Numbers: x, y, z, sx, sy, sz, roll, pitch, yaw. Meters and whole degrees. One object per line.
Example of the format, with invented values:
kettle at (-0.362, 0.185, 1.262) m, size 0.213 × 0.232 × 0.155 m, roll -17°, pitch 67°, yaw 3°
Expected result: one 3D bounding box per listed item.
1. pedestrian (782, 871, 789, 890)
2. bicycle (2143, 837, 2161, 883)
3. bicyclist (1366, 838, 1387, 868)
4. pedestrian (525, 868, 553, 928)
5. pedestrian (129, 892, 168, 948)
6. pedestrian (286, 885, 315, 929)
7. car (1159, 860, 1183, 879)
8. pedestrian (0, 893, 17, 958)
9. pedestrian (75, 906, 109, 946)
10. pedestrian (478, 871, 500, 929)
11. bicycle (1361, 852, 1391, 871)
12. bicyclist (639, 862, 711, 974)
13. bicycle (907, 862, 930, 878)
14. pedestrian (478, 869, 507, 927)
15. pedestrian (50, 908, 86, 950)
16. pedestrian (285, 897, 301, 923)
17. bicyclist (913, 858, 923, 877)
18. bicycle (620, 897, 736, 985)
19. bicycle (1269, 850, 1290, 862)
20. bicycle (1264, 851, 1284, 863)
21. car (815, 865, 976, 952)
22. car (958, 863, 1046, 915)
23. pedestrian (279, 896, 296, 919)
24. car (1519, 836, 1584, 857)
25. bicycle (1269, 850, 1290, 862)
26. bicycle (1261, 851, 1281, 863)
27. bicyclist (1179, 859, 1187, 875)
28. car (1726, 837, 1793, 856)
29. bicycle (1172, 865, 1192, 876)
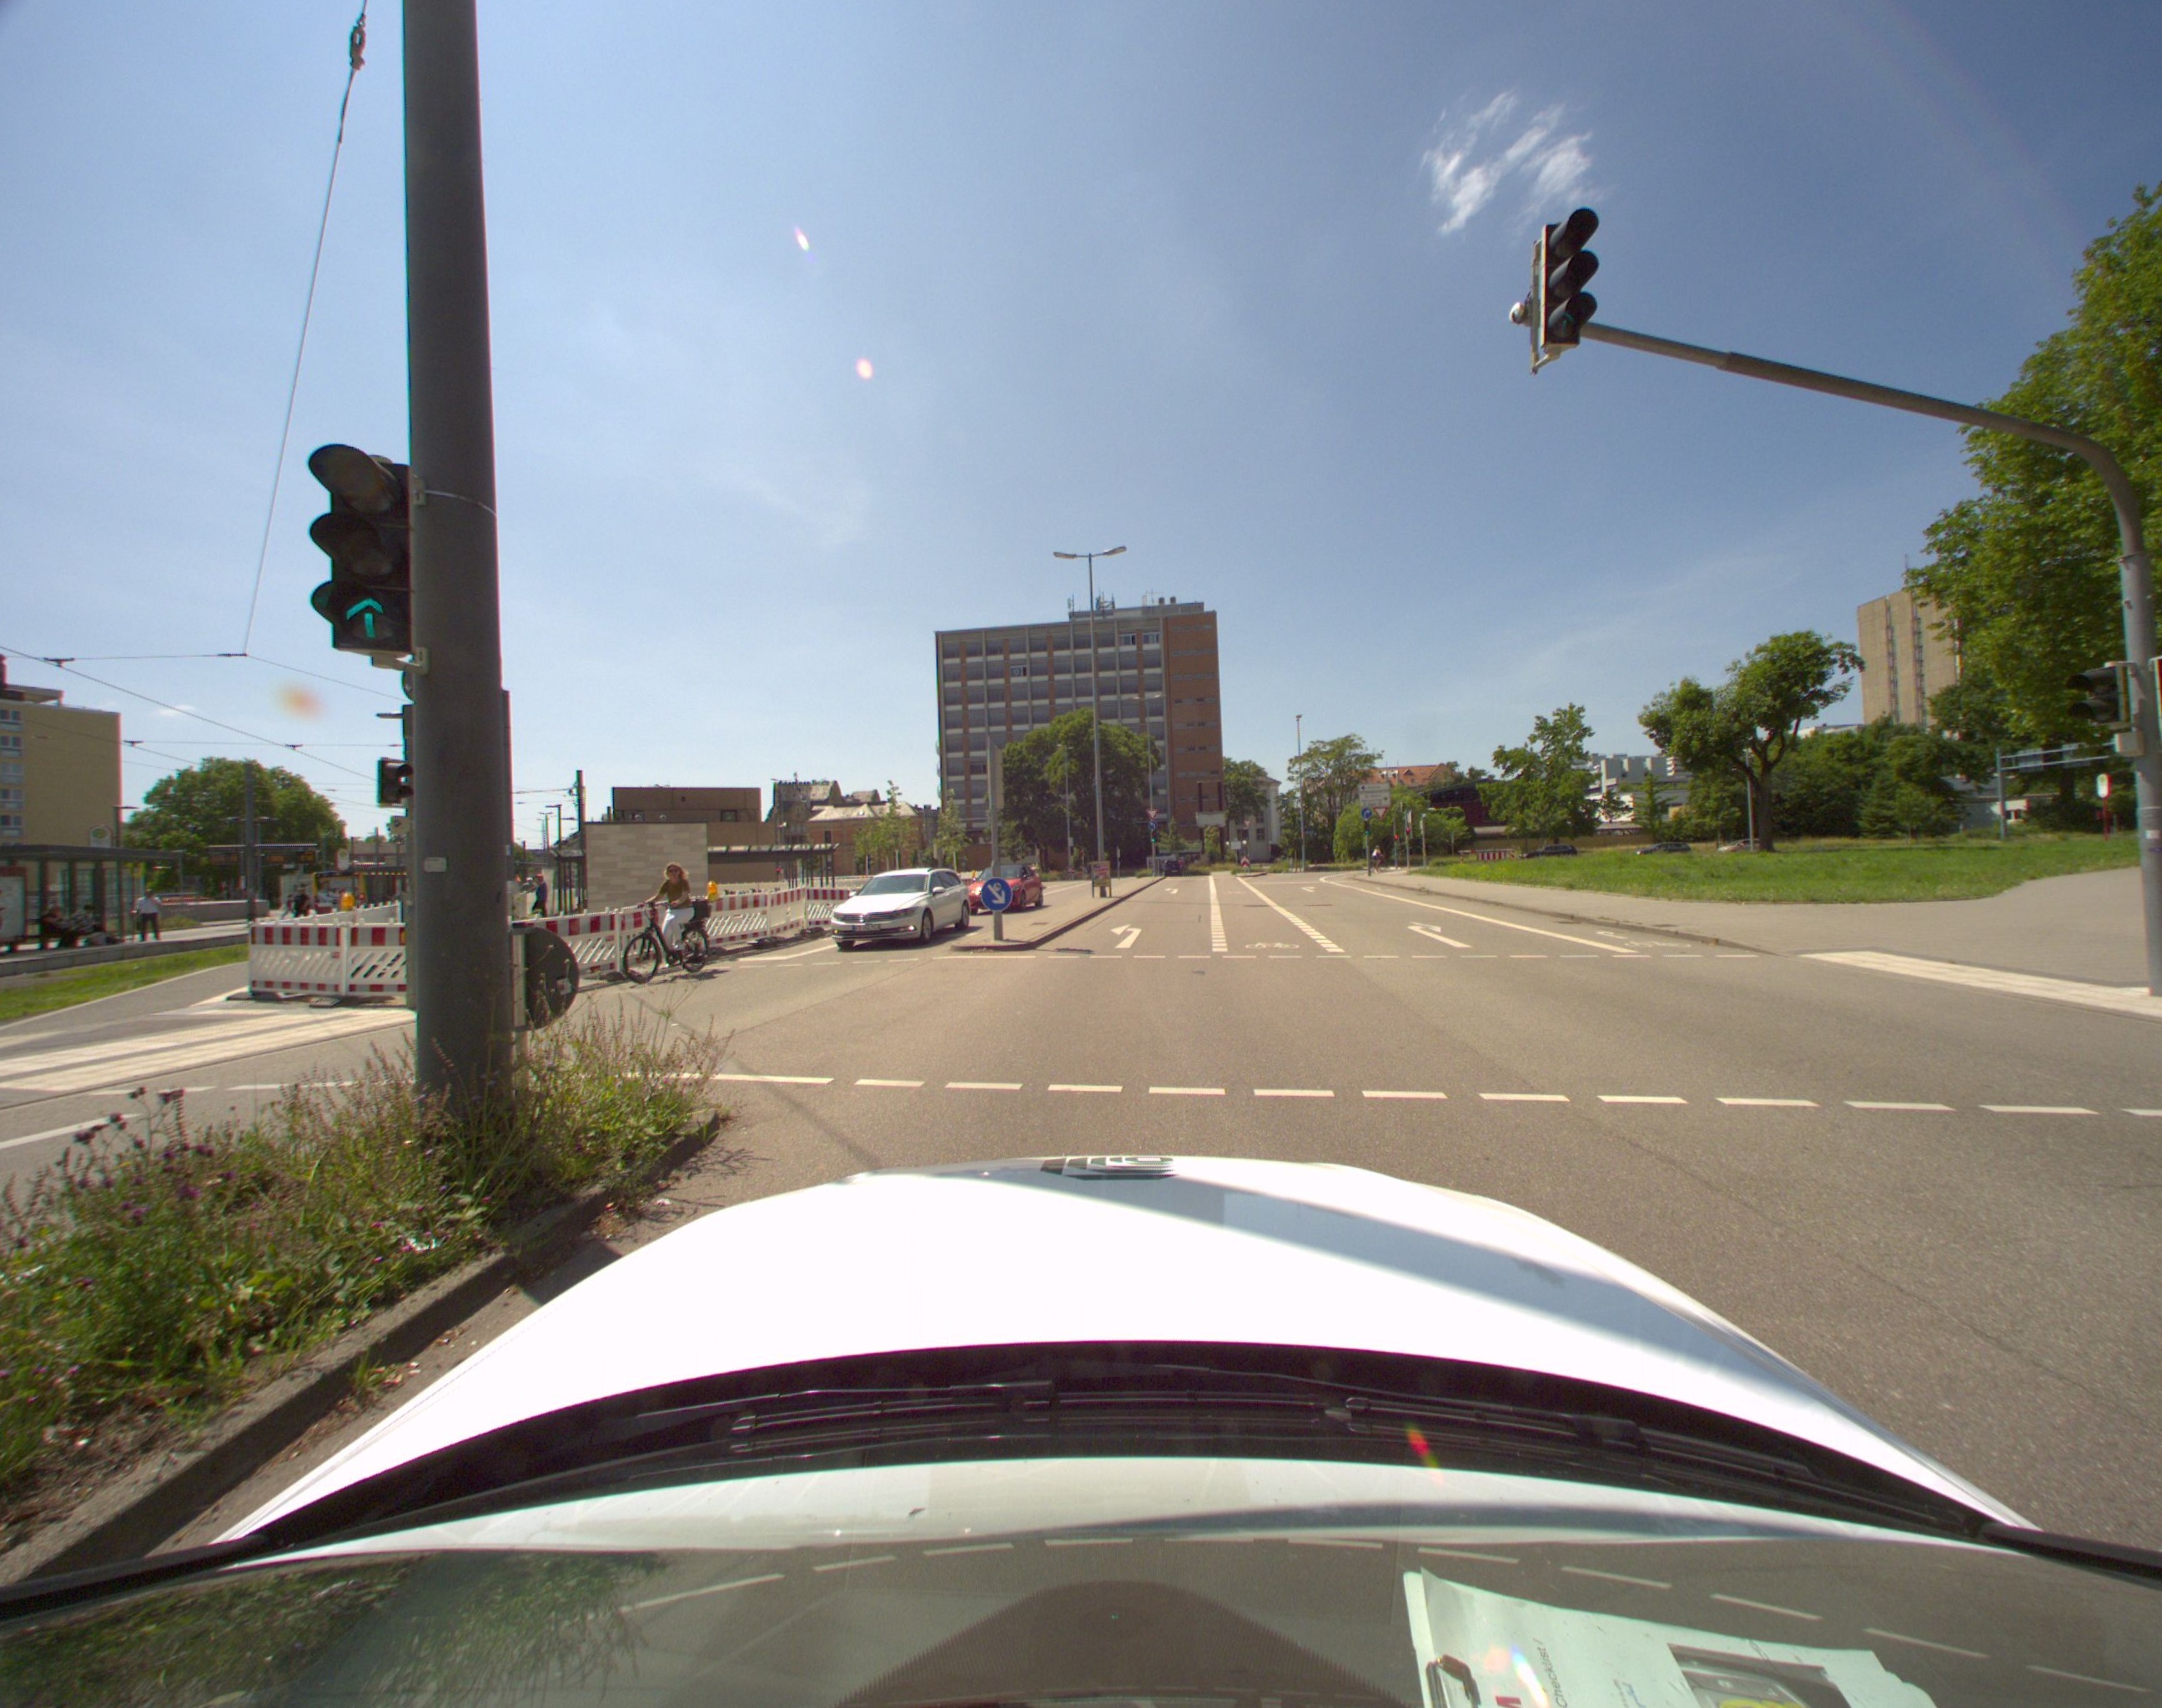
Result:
pedestrian at (-32.128, 2.856, 88.585) m, size 0.552 × 2.014 × 0.576 m, roll 0°, pitch -1°, yaw 6°
bicycle at (22.498, 0.117, 16.813) m, size 1.783 × 0.928 × 0.672 m, roll 0°, pitch -1°, yaw -37°
bicyclist at (19.167, -0.058, 52.853) m, size 1.142 × 1.887 × 0.702 m, roll 0°, pitch -1°, yaw -32°
pedestrian at (-17.738, 1.427, 26.663) m, size 0.694 × 1.905 × 0.571 m, roll 0°, pitch -1°, yaw -28°
pedestrian at (-31.541, 2.219, 27.567) m, size 0.701 × 1.858 × 0.600 m, roll 0°, pitch -1°, yaw -31°
pedestrian at (-34.370, 2.314, 35.850) m, size 0.617 × 1.858 × 0.644 m, roll -2°, pitch -1°, yaw 1°
car at (7.606, 1.300, 69.175) m, size 1.608 × 1.552 × 3.773 m, roll 0°, pitch -1°, yaw 0°
pedestrian at (-27.802, 1.836, 20.825) m, size 0.539 × 1.620 × 0.515 m, roll 0°, pitch -1°, yaw -31°
pedestrian at (-29.320, 2.124, 24.139) m, size 0.516 × 1.122 × 0.425 m, roll 0°, pitch -1°, yaw -31°
pedestrian at (-18.278, 1.406, 25.155) m, size 0.543 × 1.756 × 0.652 m, roll 0°, pitch -1°, yaw -36°
bicycle at (19.176, 0.469, 52.874) m, size 2.198 × 1.237 × 0.516 m, roll 0°, pitch -1°, yaw -30°
bicyclist at (-6.343, 0.978, 12.752) m, size 0.582 × 1.665 × 0.800 m, roll -4°, pitch -1°, yaw 5°
bicycle at (-13.630, 1.337, 68.338) m, size 1.874 × 1.180 × 0.527 m, roll -4°, pitch -2°, yaw 26°
pedestrian at (-18.723, 1.384, 25.922) m, size 0.647 × 1.789 × 0.632 m, roll 0°, pitch -1°, yaw -27°
pedestrian at (-28.819, 2.124, 23.167) m, size 0.516 × 1.122 × 0.425 m, roll 0°, pitch -1°, yaw -31°
pedestrian at (-43.381, 3.062, 44.833) m, size 0.511 × 1.366 × 0.520 m, roll 0°, pitch -1°, yaw -29°
bicyclist at (-13.701, 1.134, 68.365) m, size 0.492 × 1.580 × 0.534 m, roll -4°, pitch -2°, yaw 26°
bicycle at (-6.297, 1.328, 12.869) m, size 0.585 × 1.150 × 2.013 m, roll -4°, pitch -1°, yaw 6°
bicycle at (33.559, 0.392, 137.563) m, size 3.425 × 2.014 × 0.762 m, roll -1°, pitch -1°, yaw 10°
bicycle at (33.376, 0.467, 140.980) m, size 3.425 × 2.014 × 0.762 m, roll -1°, pitch -1°, yaw 10°
car at (-3.697, 1.028, 17.117) m, size 1.806 × 1.428 × 4.436 m, roll -4°, pitch -1°, yaw 7°
car at (-2.366, 1.038, 25.441) m, size 1.678 × 1.378 × 4.023 m, roll -4°, pitch -1°, yaw 9°
pedestrian at (-48.871, 3.293, 50.167) m, size 0.441 × 1.397 × 0.558 m, roll 0°, pitch -1°, yaw 1°
car at (40.651, -0.646, 70.493) m, size 4.508 × 1.586 × 1.716 m, roll -3°, pitch -1°, yaw 14°
bicycle at (33.907, 0.326, 139.183) m, size 3.425 × 2.014 × 0.762 m, roll -1°, pitch -1°, yaw 10°
bicycle at (33.555, 0.523, 143.647) m, size 3.425 × 2.014 × 0.762 m, roll -1°, pitch -1°, yaw 10°
bicyclist at (10.836, 1.389, 86.783) m, size 0.700 × 1.715 × 0.550 m, roll -2°, pitch 0°, yaw -5°
car at (56.265, -0.608, 67.567) m, size 3.964 × 1.439 × 1.764 m, roll 0°, pitch -1°, yaw 8°
bicycle at (10.780, 1.737, 86.786) m, size 1.985 × 1.045 × 0.558 m, roll -2°, pitch 0°, yaw -2°
